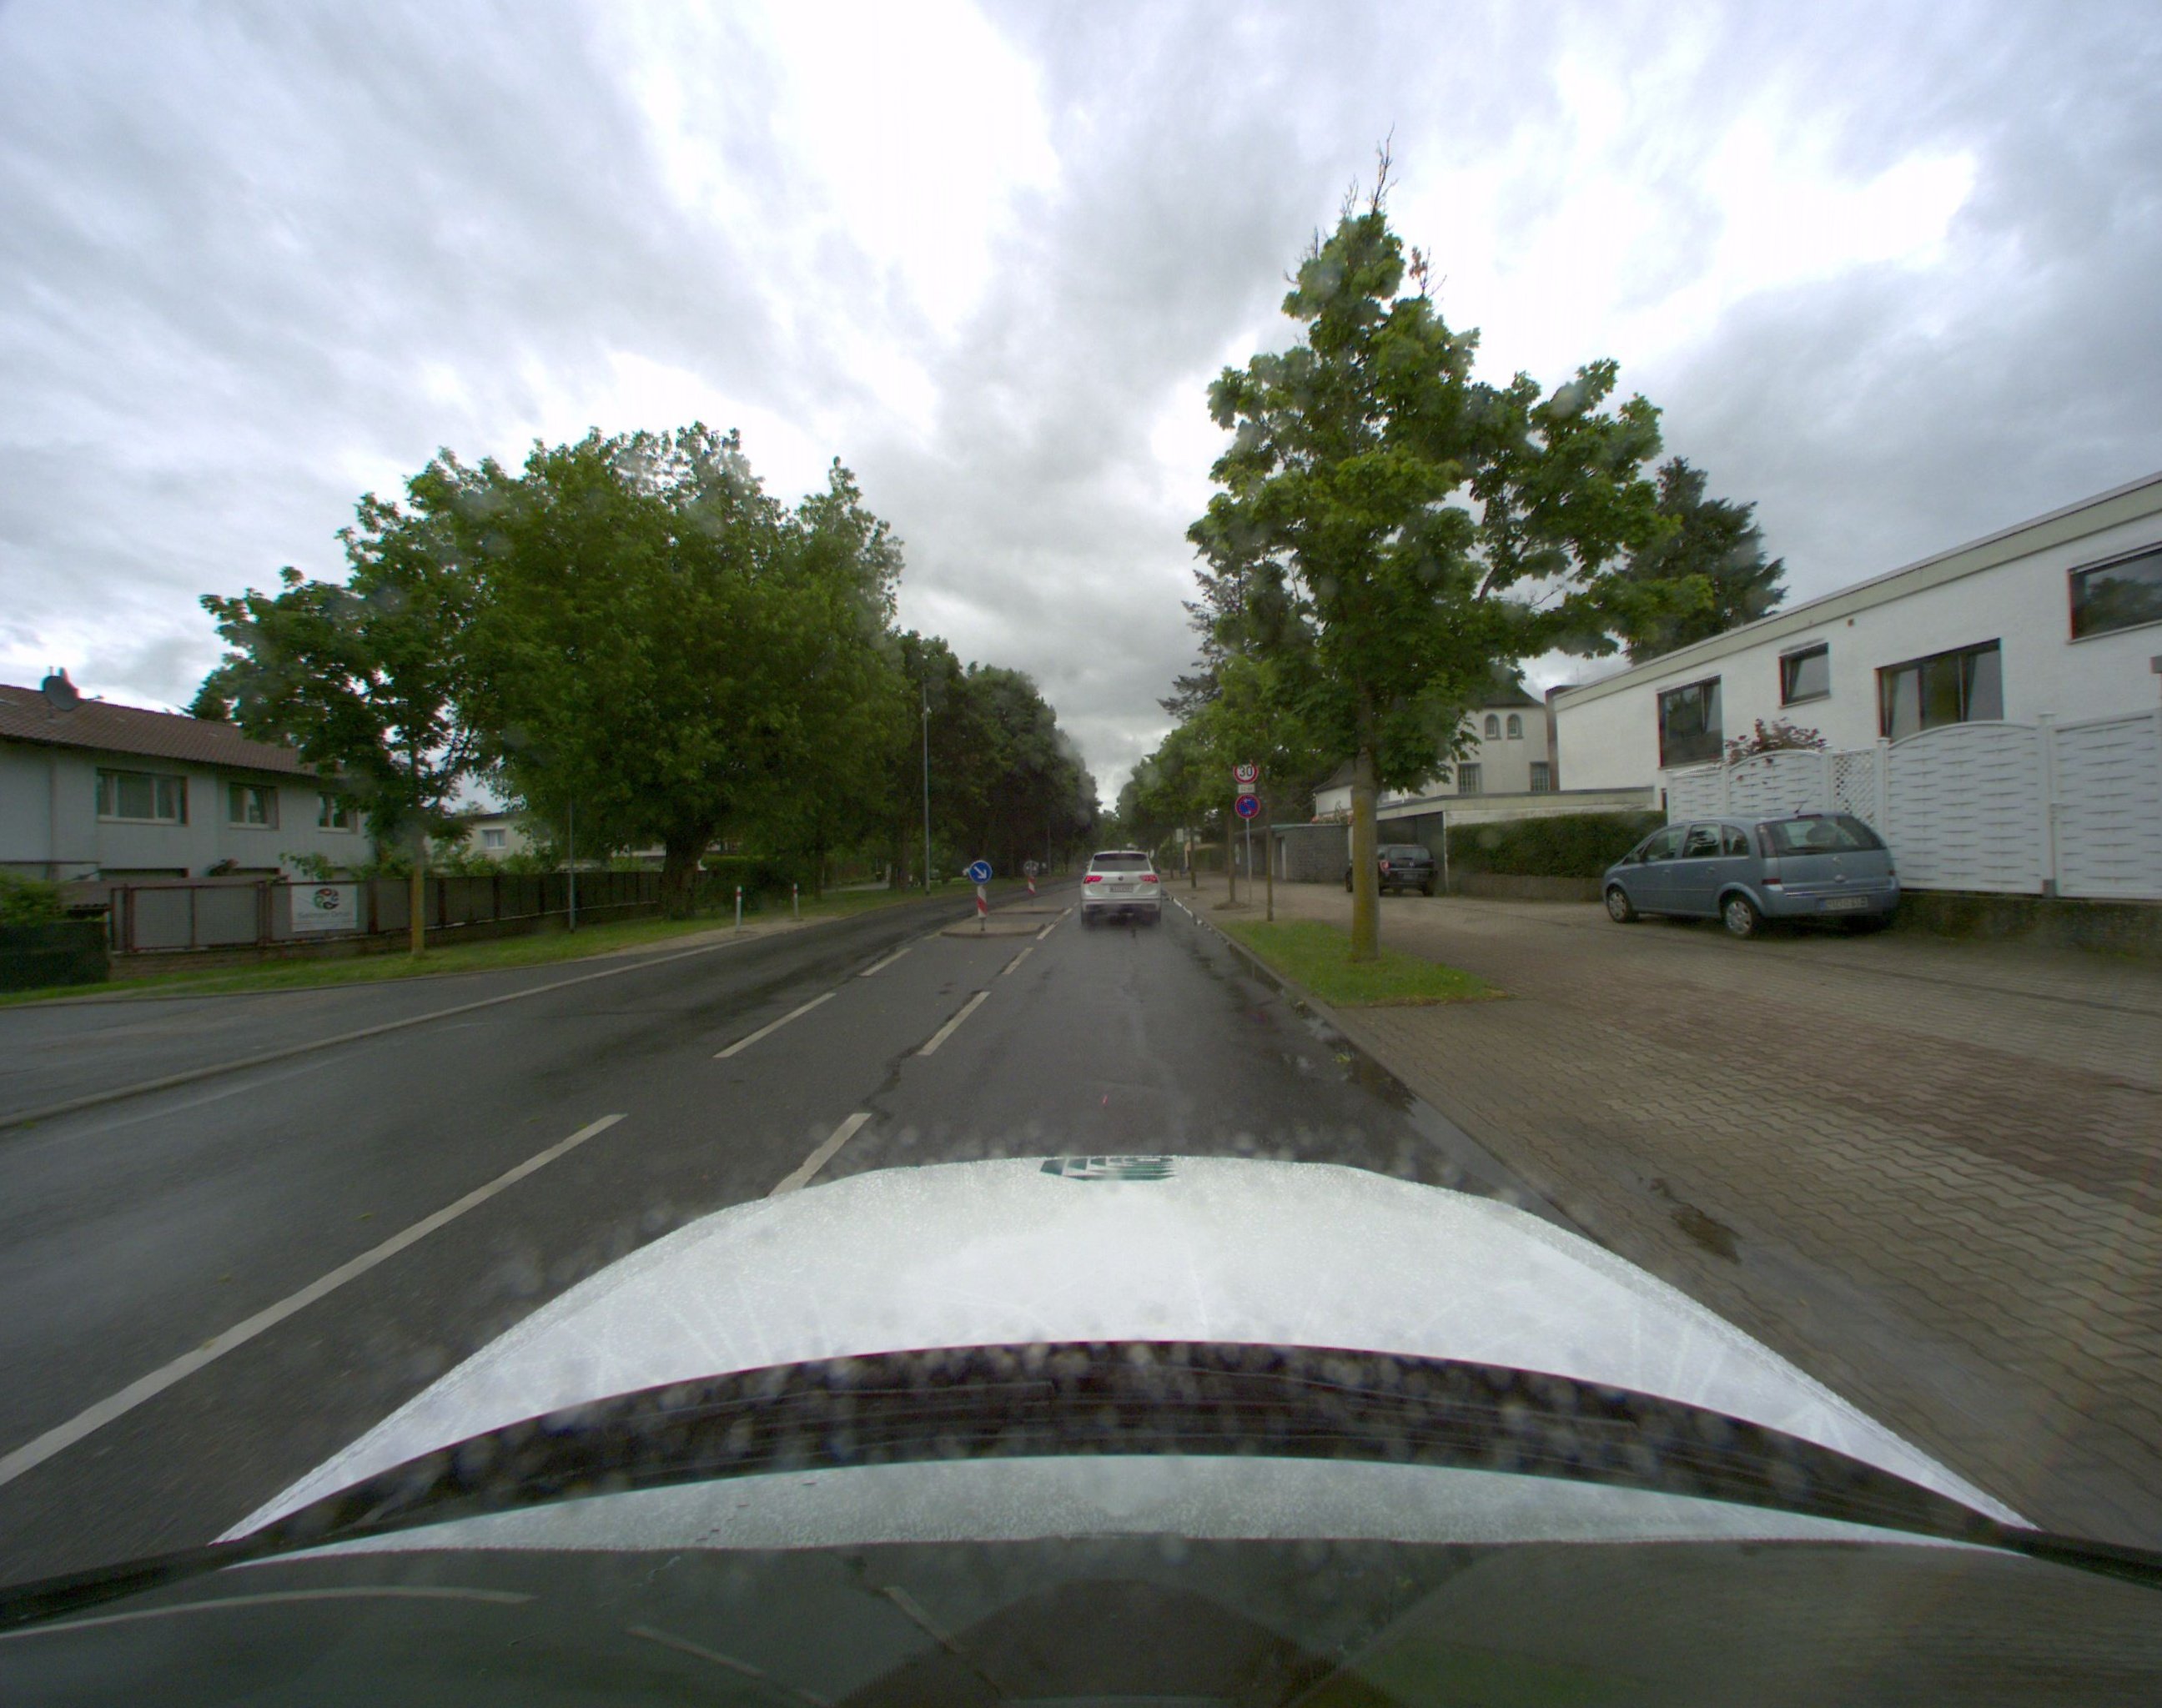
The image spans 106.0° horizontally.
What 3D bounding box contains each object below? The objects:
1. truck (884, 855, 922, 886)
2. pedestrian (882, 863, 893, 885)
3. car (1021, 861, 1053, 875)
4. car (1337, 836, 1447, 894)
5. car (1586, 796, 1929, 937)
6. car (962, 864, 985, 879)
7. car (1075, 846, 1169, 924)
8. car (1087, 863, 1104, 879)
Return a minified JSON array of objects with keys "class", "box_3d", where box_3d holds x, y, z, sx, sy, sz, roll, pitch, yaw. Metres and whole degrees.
[{"class":"truck","box_3d":[-15.642,1.425,71.826,2.280,2.597,5.866,-2,-1,-3]},{"class":"pedestrian","box_3d":[-16.147,1.673,67.912,0.707,1.841,0.823,-2,0,-3]},{"class":"car","box_3d":[-4.982,1.600,92.134,1.854,1.482,3.959,-2,-1,-32]},{"class":"car","box_3d":[9.164,0.302,24.391,1.763,1.498,4.549,-3,0,4]},{"class":"car","box_3d":[9.309,0.159,11.722,1.736,1.611,4.004,-3,0,4]},{"class":"car","box_3d":[-11.915,1.945,89.829,1.846,1.482,3.977,-2,-1,-17]},{"class":"car","box_3d":[0.907,0.669,19.533,1.990,1.632,4.000,-1,0,1]},{"class":"car","box_3d":[1.600,1.864,90.894,1.807,1.648,4.002,-1,-1,2]}]
